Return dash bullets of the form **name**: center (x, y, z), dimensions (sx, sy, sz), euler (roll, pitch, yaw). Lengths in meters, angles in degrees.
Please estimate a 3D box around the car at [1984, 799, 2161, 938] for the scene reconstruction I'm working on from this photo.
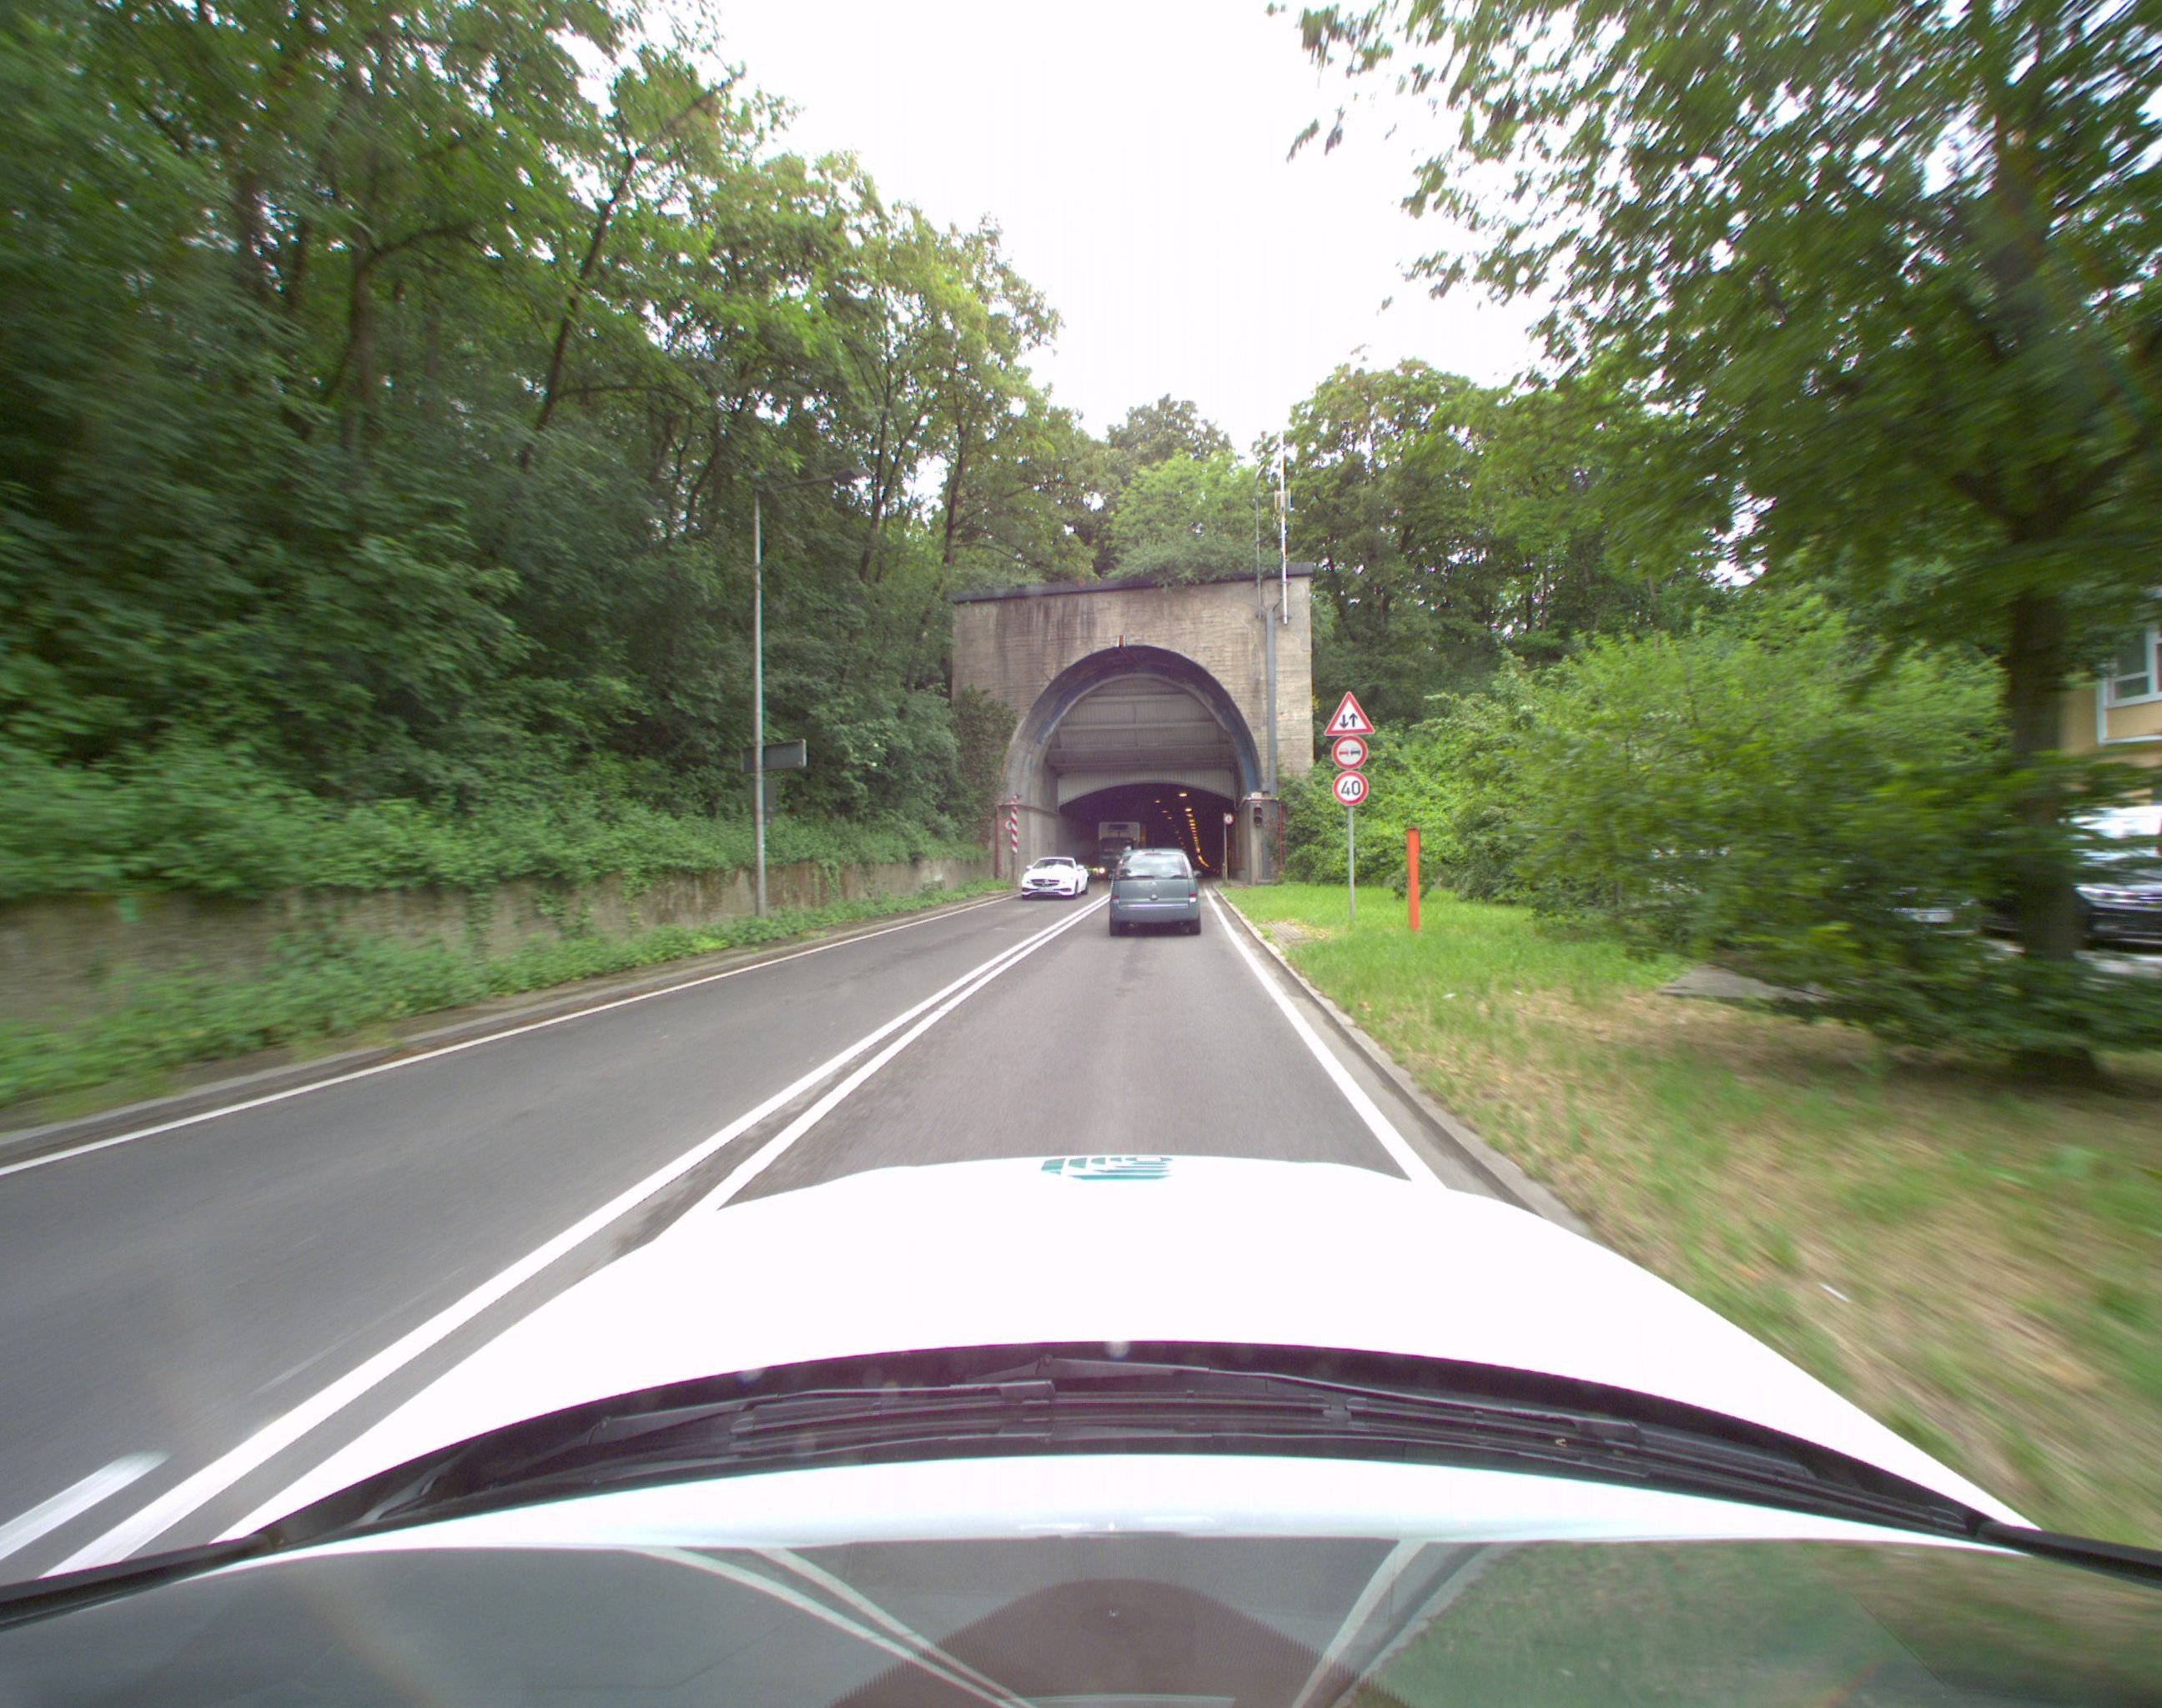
- **car**: center (16.540, 0.194, 11.982), dimensions (1.846, 2.014, 4.573), euler (-1, 0, 8)

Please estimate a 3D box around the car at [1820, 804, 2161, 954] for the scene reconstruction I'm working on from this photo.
- **car**: center (14.339, 0.314, 12.563), dimensions (1.846, 1.879, 4.894), euler (-1, 0, 7)

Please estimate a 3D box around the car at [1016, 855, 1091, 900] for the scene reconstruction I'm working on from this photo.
- **car**: center (-0.867, 0.752, 28.378), dimensions (1.858, 1.371, 4.465), euler (-2, 0, 7)

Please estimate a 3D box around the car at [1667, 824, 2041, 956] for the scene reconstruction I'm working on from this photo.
- **car**: center (12.024, 0.493, 13.279), dimensions (1.799, 1.666, 4.894), euler (-3, -1, 7)

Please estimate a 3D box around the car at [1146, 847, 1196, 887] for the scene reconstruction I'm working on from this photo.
- **car**: center (4.196, 0.563, 37.631), dimensions (1.981, 1.653, 4.012), euler (-2, 1, 10)

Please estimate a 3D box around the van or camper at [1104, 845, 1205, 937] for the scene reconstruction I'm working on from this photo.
- **van or camper**: center (1.517, 0.654, 16.159), dimensions (1.726, 1.578, 3.653), euler (-2, 0, 7)

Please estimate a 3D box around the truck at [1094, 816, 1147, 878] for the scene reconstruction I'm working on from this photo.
- **truck**: center (2.651, -0.410, 52.253), dimensions (2.661, 3.667, 7.534), euler (-1, 0, 8)
